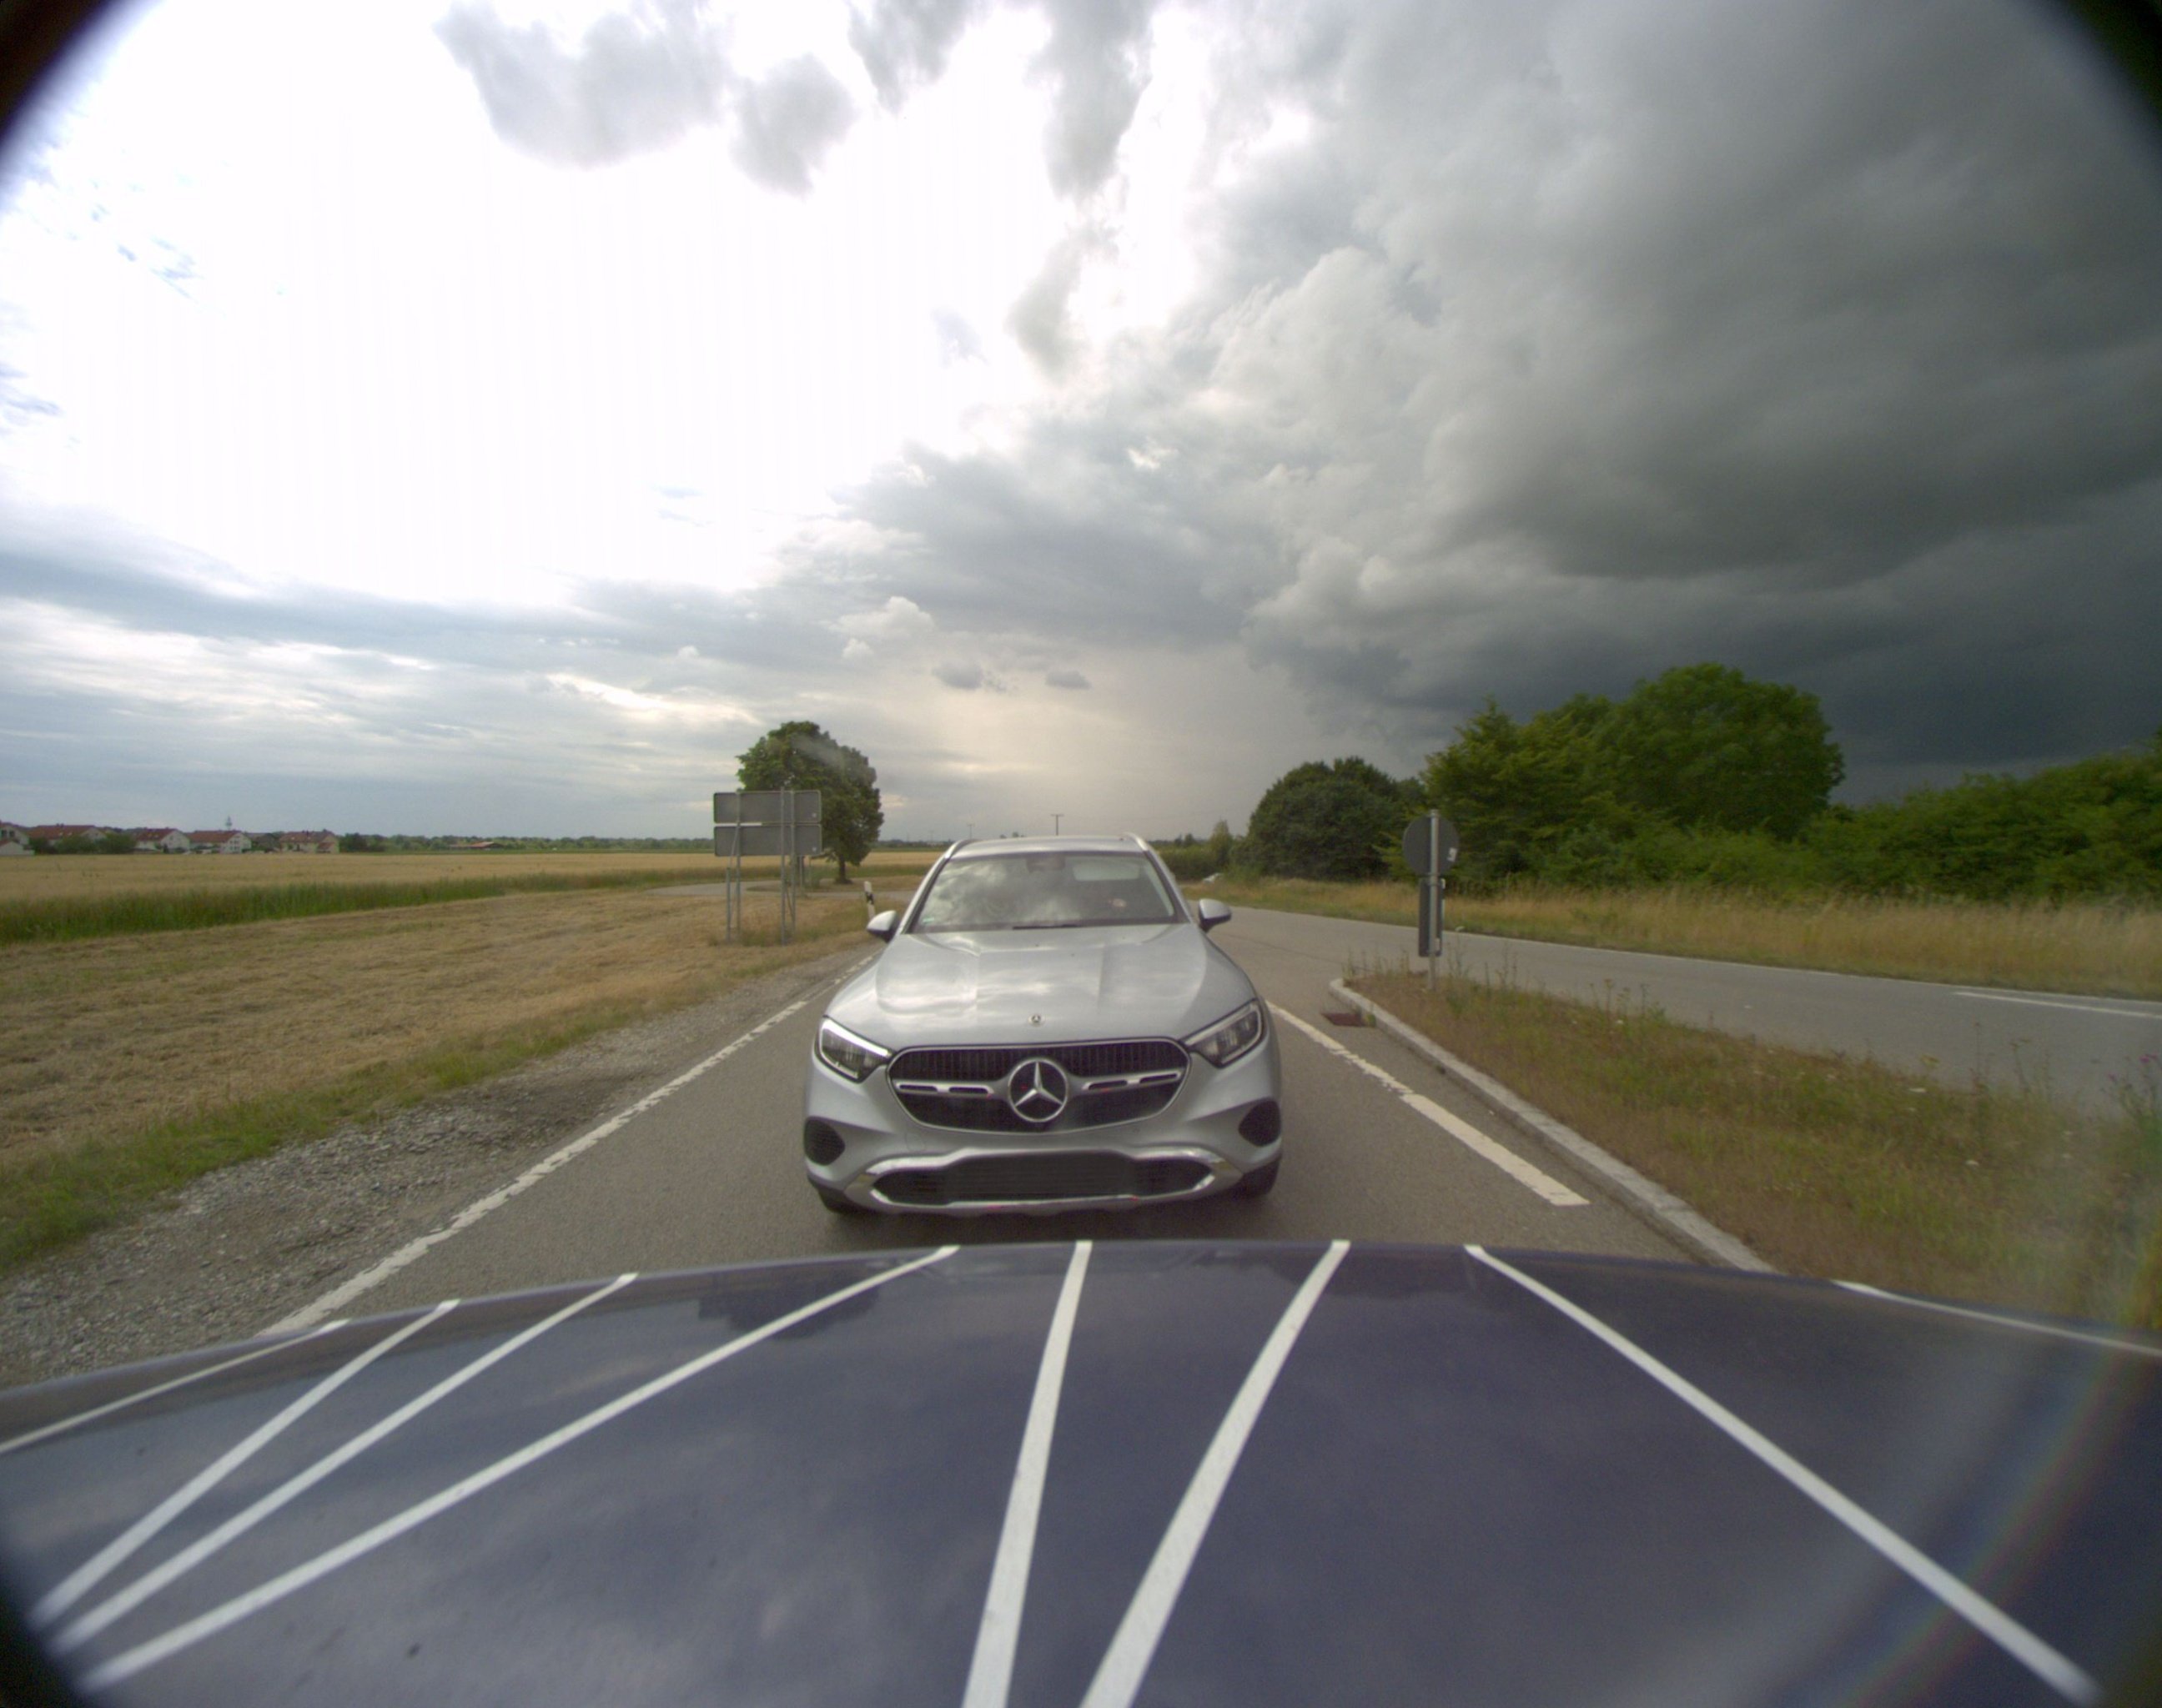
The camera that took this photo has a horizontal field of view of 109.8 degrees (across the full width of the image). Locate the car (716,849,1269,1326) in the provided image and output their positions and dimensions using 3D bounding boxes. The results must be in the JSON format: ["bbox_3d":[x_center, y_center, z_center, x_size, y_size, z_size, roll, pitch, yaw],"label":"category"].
[{"bbox_3d":[-0.349,0.764,4.772,1.837,1.577,4.448,0,1,-2],"label":"car"}]

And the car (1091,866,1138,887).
[{"bbox_3d":[2.997,1.971,67.099,1.994,1.709,5.219,3,0,28],"label":"car"}]

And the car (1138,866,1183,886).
[{"bbox_3d":[7.860,2.102,74.711,1.994,1.710,5.219,3,2,36],"label":"car"}]

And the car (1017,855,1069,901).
[{"bbox_3d":[-1.610,0.928,31.887,1.999,1.710,5.206,0,1,-3],"label":"car"}]

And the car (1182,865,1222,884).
[{"bbox_3d":[12.895,2.134,80.782,1.994,1.710,5.219,3,2,36],"label":"car"}]

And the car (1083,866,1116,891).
[{"bbox_3d":[1.444,1.835,58.336,1.997,1.709,5.212,3,0,6],"label":"car"}]

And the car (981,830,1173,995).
[{"bbox_3d":[-0.060,0.634,10.616,1.999,1.709,5.208,1,0,0],"label":"car"}]
